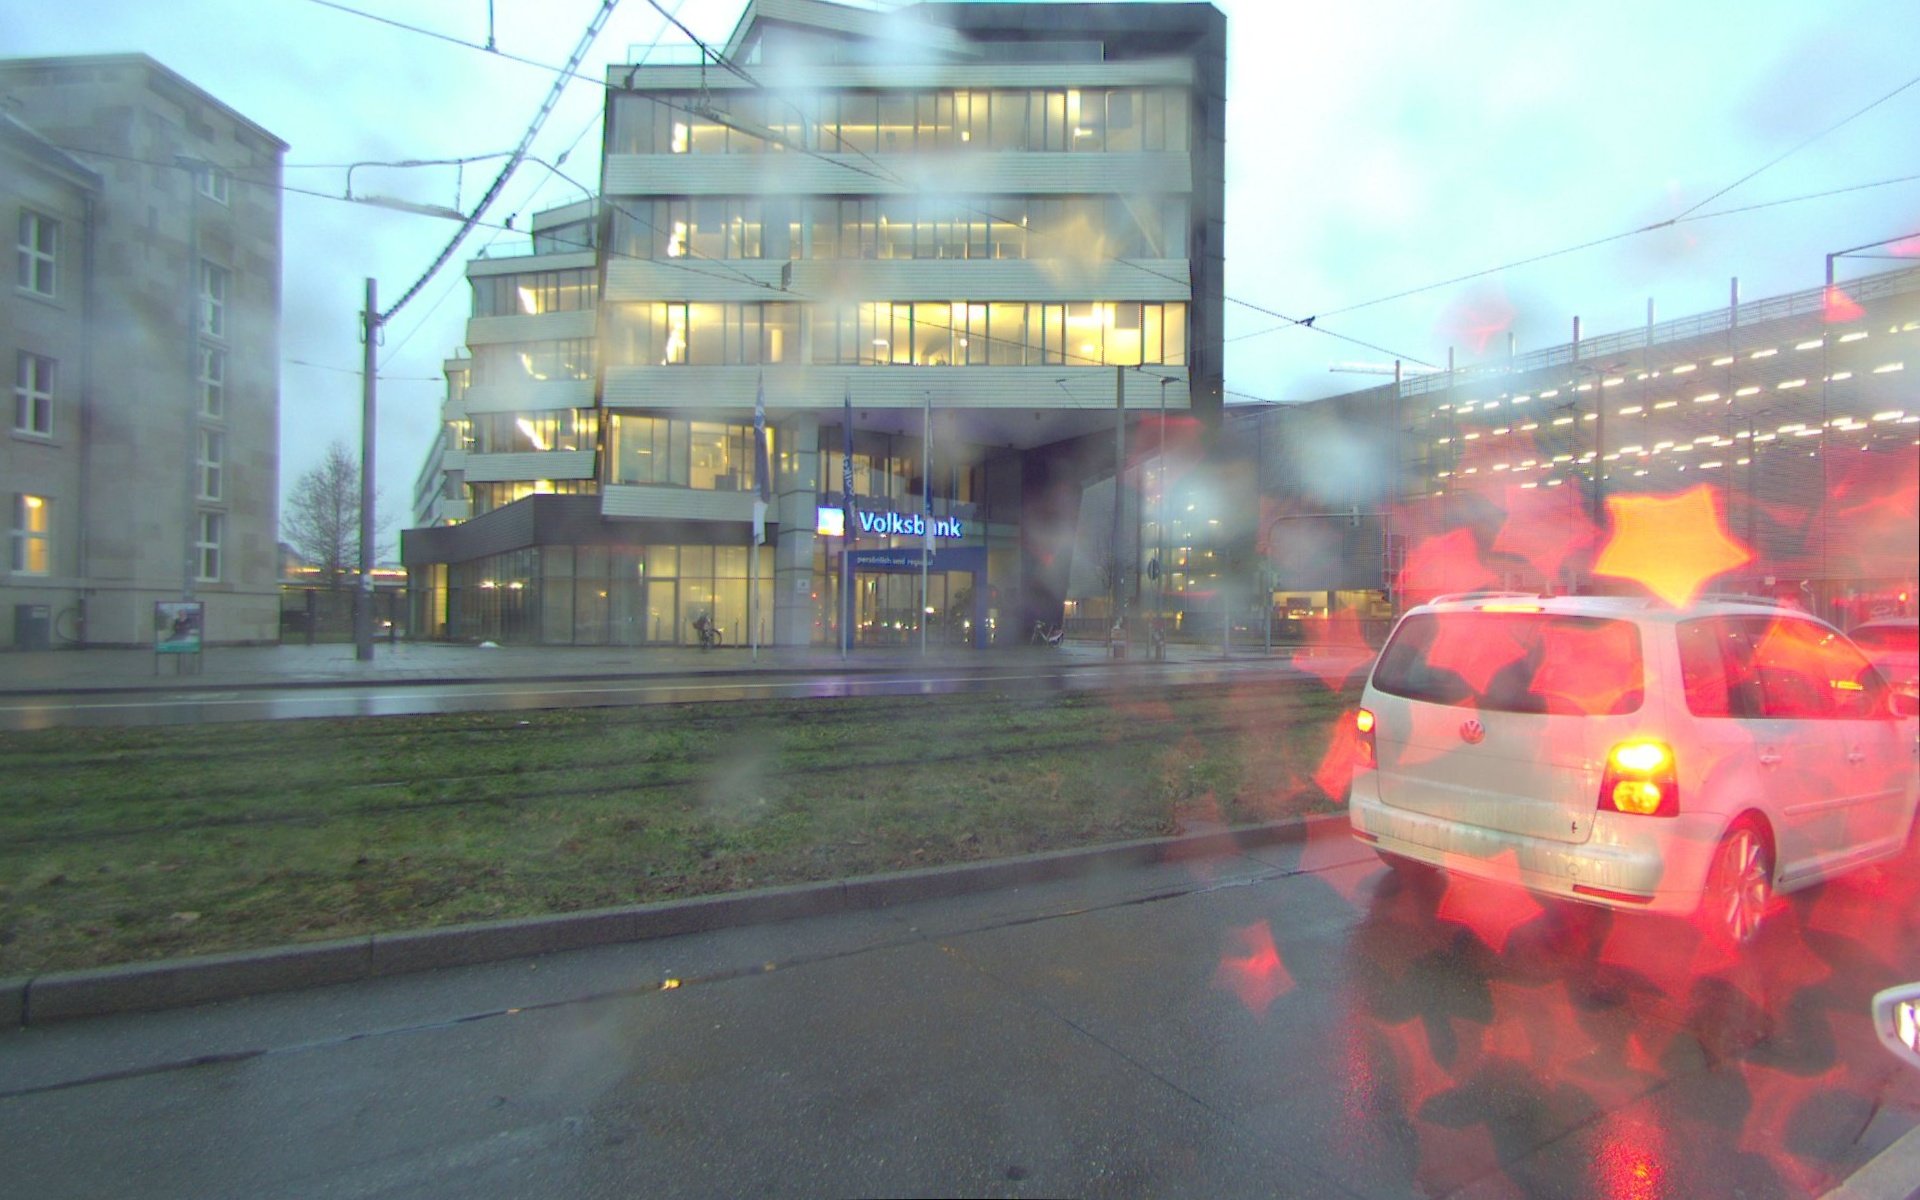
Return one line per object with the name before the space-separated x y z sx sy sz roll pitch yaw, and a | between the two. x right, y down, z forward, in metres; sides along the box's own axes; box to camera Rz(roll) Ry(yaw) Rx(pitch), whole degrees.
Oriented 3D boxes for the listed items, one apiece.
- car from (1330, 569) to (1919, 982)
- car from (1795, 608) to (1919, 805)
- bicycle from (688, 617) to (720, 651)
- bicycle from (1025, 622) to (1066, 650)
car | 4.163 0.737 5.802 4.177 1.620 1.662 1 -1 -33
car | 9.537 0.896 9.300 4.320 1.591 1.808 1 -1 -36
bicycle | -8.708 1.146 34.208 0.518 1.142 1.498 0 -1 6
bicycle | 3.417 1.435 40.133 1.582 1.084 0.637 0 -1 -31
